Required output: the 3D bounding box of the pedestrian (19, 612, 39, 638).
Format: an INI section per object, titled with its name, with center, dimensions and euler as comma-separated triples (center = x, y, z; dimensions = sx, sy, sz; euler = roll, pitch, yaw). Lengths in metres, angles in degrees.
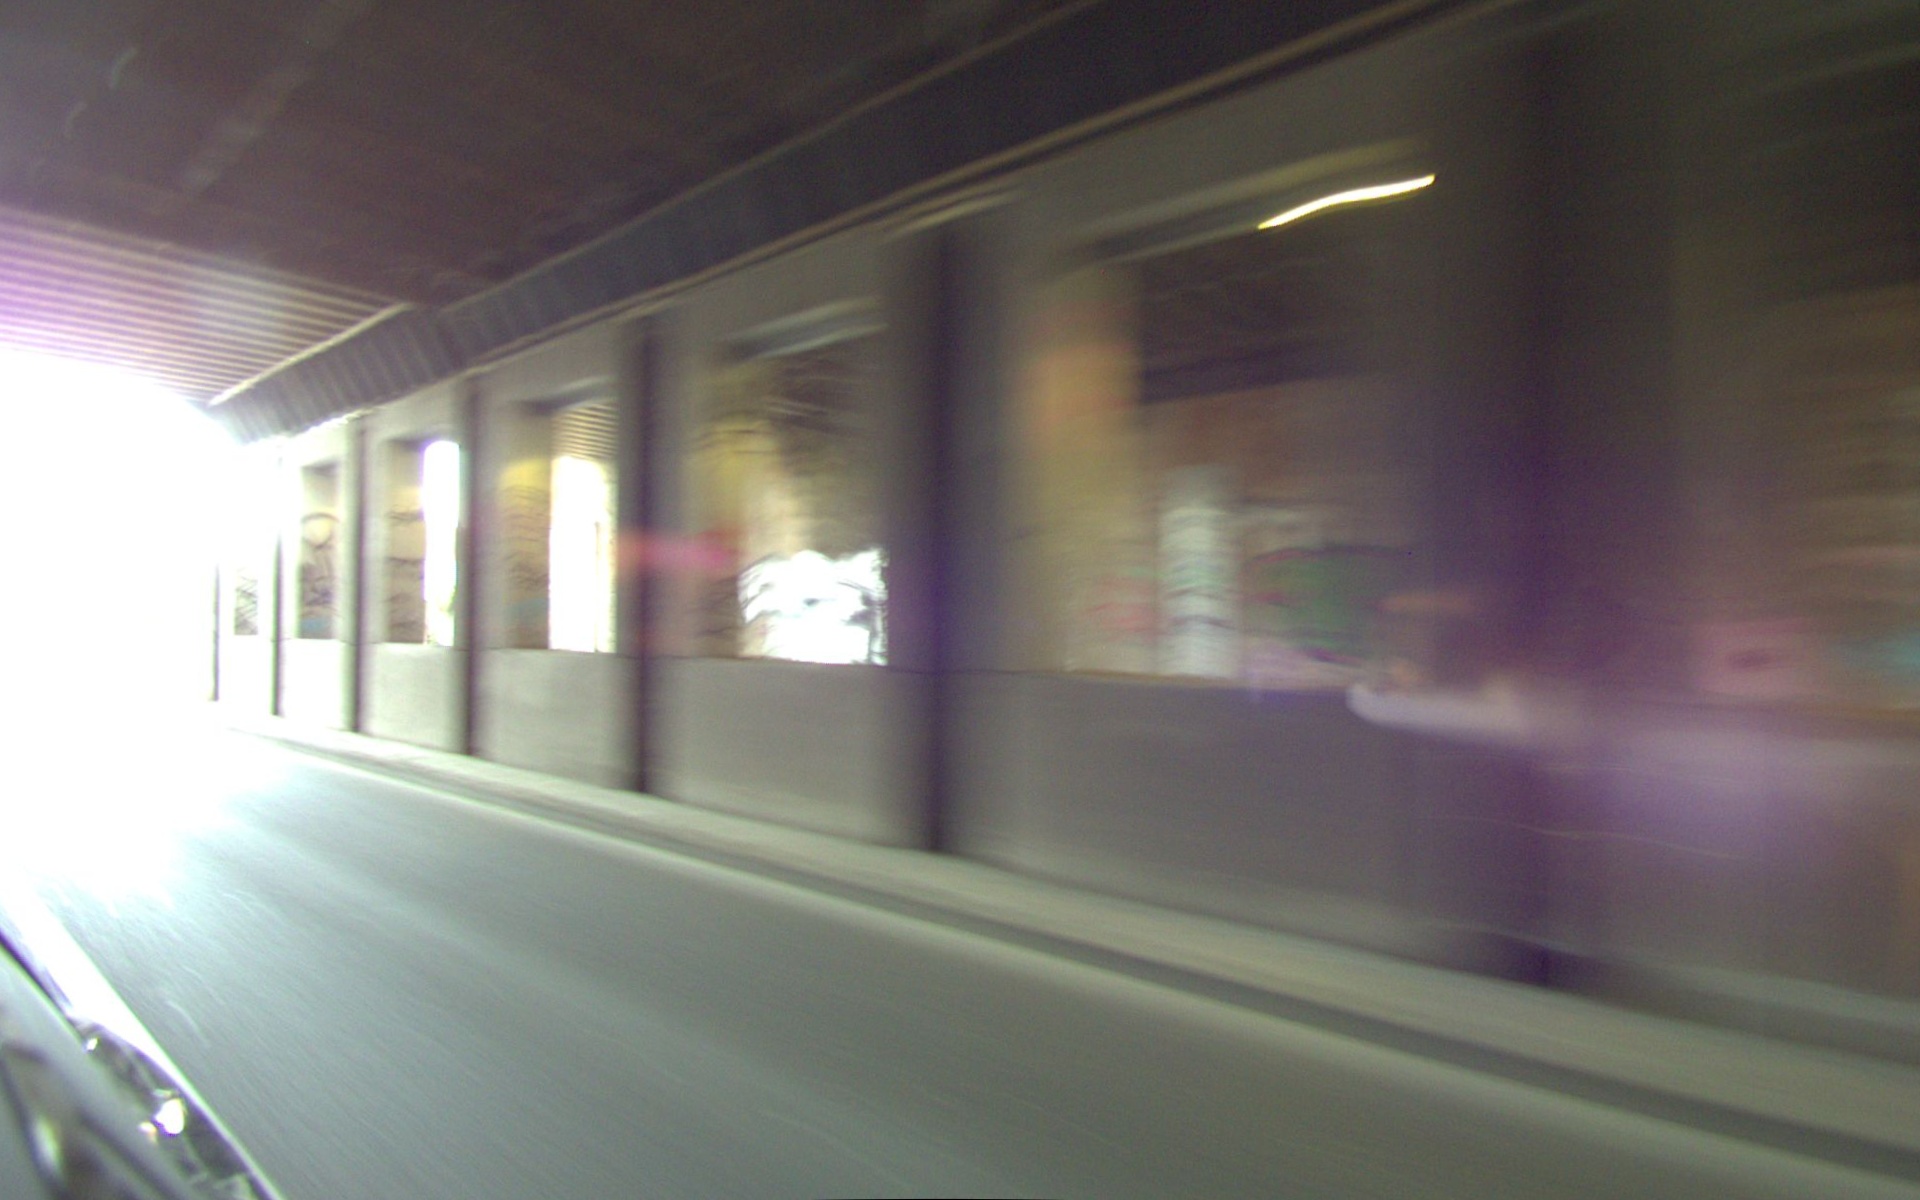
[pedestrian]
center = -59.815, 1.575, 65.019
dimensions = 1.181, 1.641, 0.823
euler = -1, -1, 43
